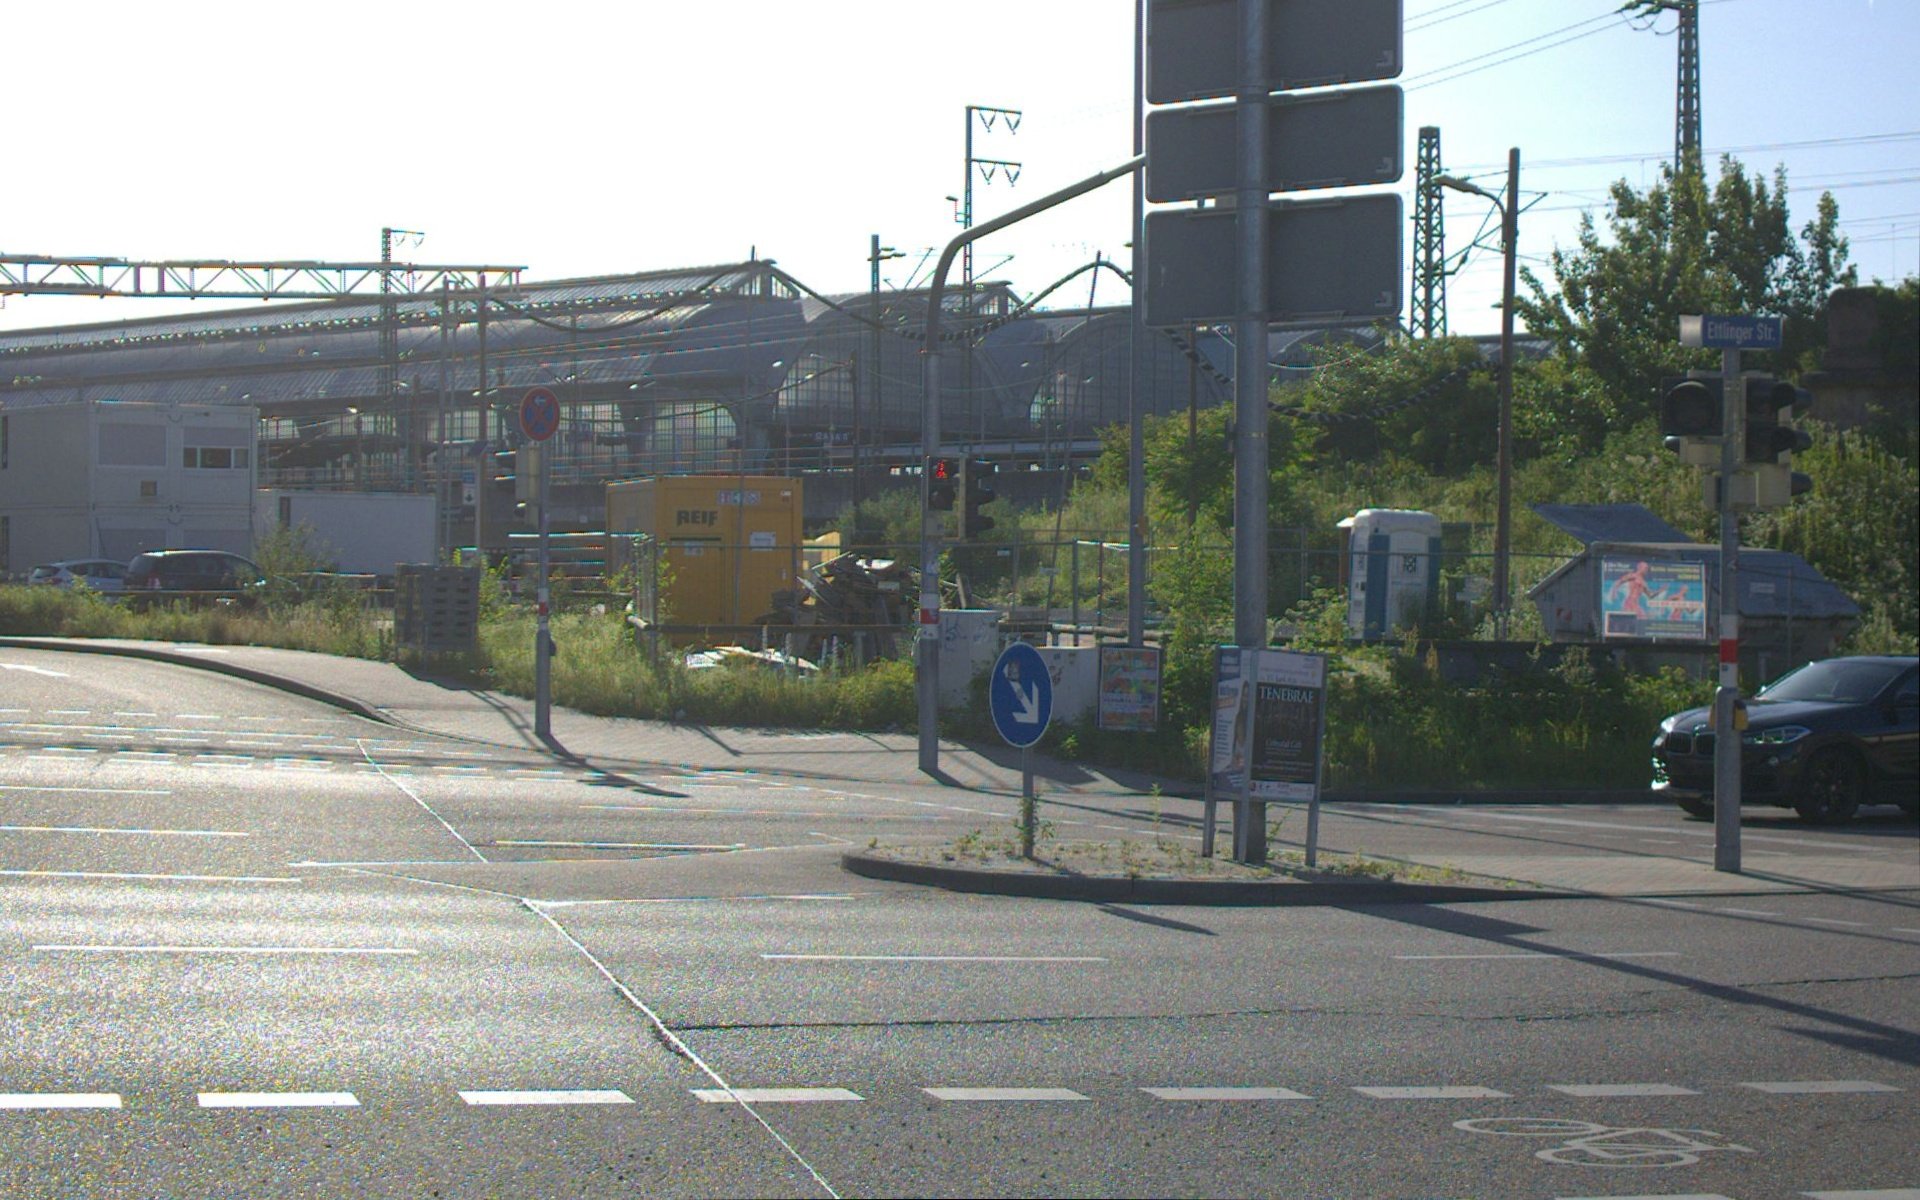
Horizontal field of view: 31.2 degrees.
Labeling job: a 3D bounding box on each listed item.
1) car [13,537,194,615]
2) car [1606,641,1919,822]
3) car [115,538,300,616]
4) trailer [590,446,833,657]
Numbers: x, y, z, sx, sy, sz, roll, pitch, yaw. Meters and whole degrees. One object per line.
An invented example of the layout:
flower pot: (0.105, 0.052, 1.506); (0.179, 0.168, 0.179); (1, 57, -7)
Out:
car: (-21.353, -0.592, 85.752); (3.987, 1.782, 1.655); (2, 0, -34)
car: (8.219, 1.193, 31.212); (4.372, 1.513, 1.957); (2, -1, -30)
car: (-18.200, -0.557, 83.180); (3.987, 1.700, 1.615); (2, 0, -34)
trailer: (-4.354, -0.806, 58.836); (2.995, 3.281, 6.670); (2, 0, -13)
